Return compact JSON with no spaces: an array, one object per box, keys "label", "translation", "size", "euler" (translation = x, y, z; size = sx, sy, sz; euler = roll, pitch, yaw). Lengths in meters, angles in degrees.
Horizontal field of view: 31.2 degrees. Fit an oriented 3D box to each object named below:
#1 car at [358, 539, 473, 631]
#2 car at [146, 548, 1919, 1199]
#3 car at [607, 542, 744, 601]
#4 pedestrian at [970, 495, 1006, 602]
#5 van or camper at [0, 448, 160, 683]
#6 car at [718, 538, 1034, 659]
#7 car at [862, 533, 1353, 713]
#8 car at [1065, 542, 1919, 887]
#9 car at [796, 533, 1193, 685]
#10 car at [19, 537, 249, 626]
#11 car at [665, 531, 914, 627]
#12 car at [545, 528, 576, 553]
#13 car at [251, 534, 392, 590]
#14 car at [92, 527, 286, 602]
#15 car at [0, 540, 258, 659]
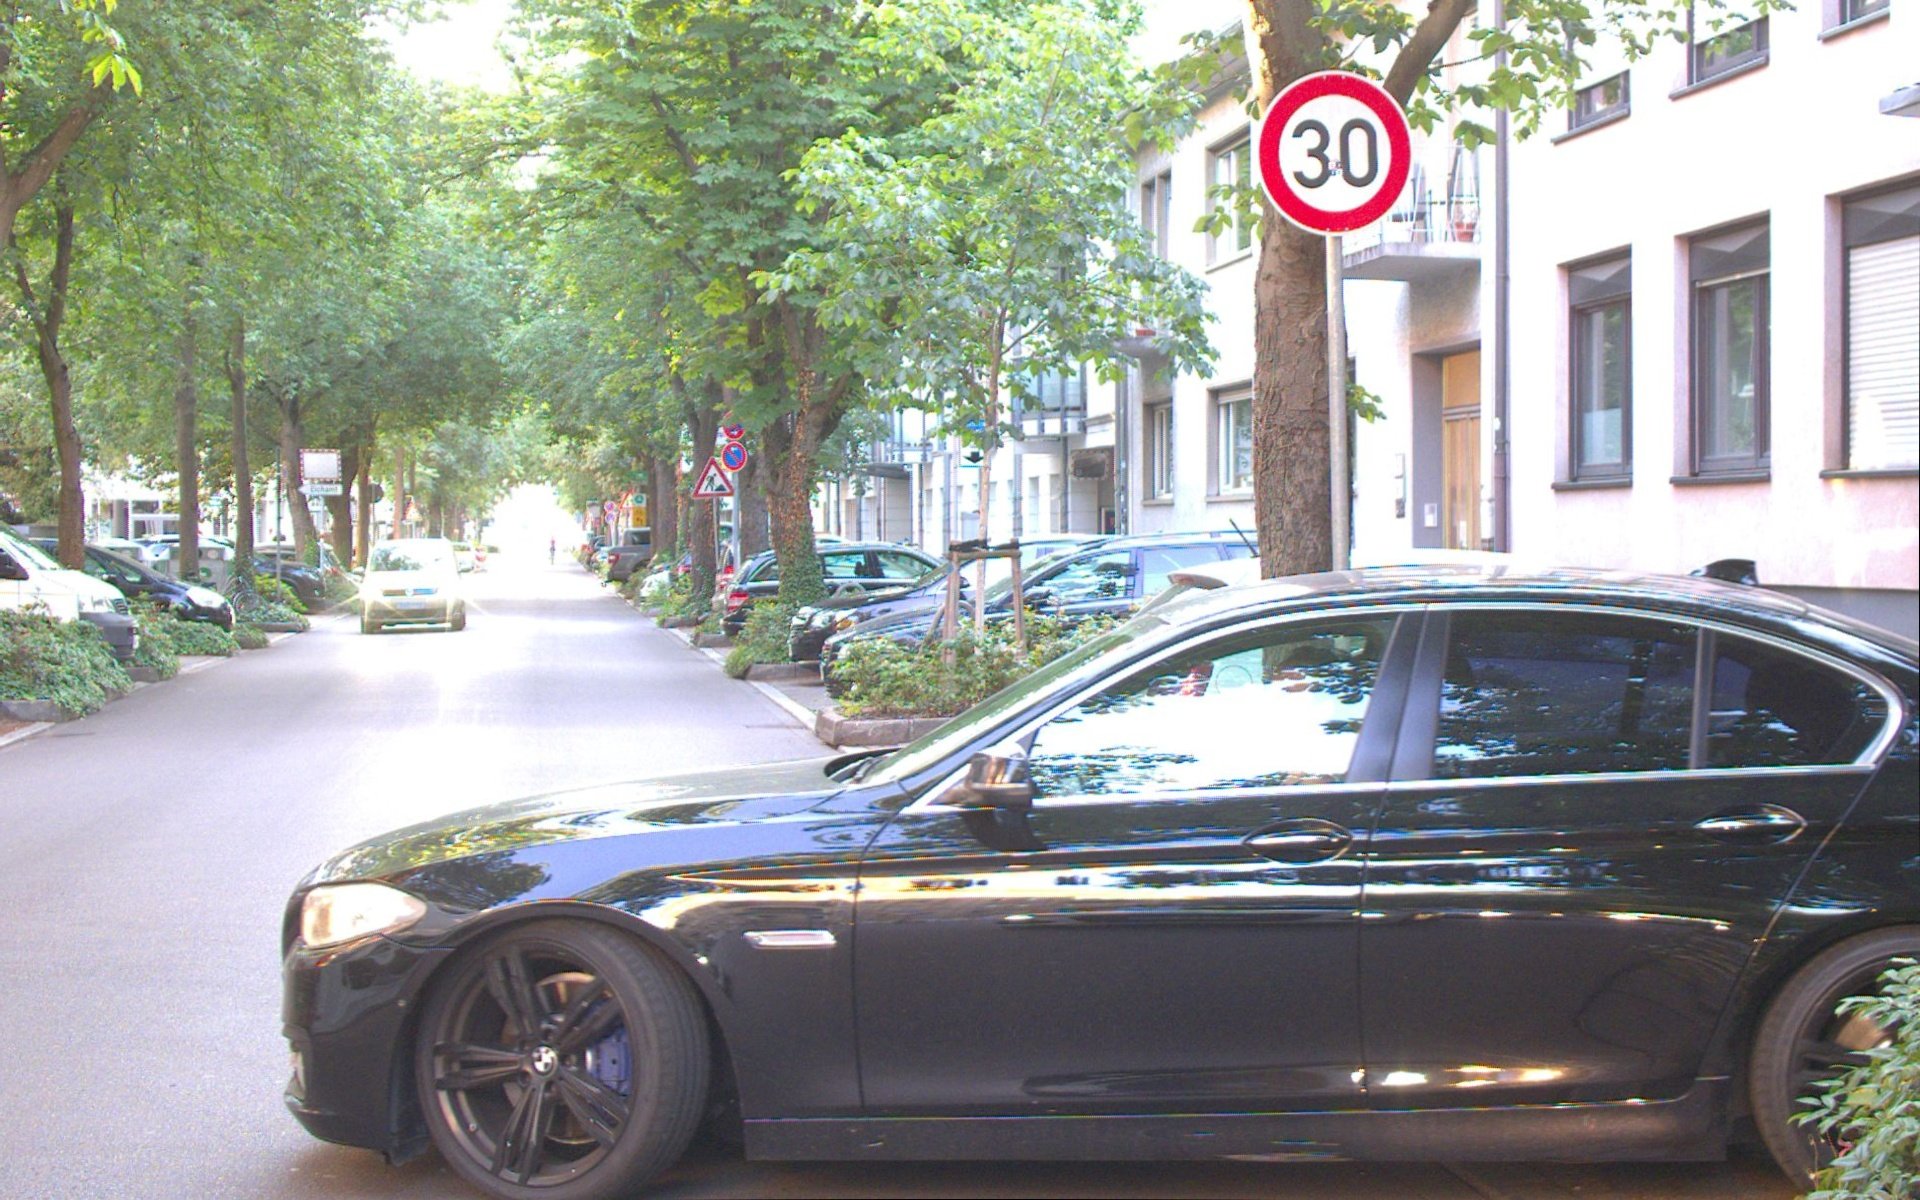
[{"label":"car","translation":[-9.569,-0.289,60.627],"size":[1.779,1.557,4.169],"euler":[0,1,-6]},{"label":"car","translation":[0.670,0.624,8.186],"size":[4.746,1.475,1.800],"euler":[0,1,4]},{"label":"car","translation":[-8.344,-0.857,100.773],"size":[3.967,1.678,1.785],"euler":[0,1,-5]},{"label":"pedestrian","translation":[0.523,-0.968,64.903],"size":[0.589,2.007,0.669],"euler":[-1,1,-5]},{"label":"van or camper","translation":[-11.124,-0.370,37.043],"size":[4.662,2.470,2.000],"euler":[0,1,-7]},{"label":"car","translation":[-1.127,-0.037,44.957],"size":[3.967,1.522,1.785],"euler":[-1,1,-7]},{"label":"car","translation":[1.231,0.170,29.672],"size":[3.967,1.471,1.785],"euler":[-1,1,-8]},{"label":"car","translation":[2.564,0.481,16.072],"size":[3.908,1.471,1.665],"euler":[-1,1,-8]},{"label":"car","translation":[0.325,0.073,36.147],"size":[3.967,1.522,1.785],"euler":[-1,1,-7]},{"label":"car","translation":[-15.458,-0.361,64.506],"size":[3.967,1.614,1.785],"euler":[0,1,-5]},{"label":"car","translation":[-2.842,-0.365,56.821],"size":[3.967,1.522,1.785],"euler":[-1,1,-8]},{"label":"car","translation":[-24.499,-3.659,211.079],"size":[1.822,1.525,4.001],"euler":[-1,1,-6]},{"label":"car","translation":[-18.966,-1.136,102.228],"size":[3.967,1.614,1.785],"euler":[0,1,-5]},{"label":"car","translation":[-17.042,-0.801,76.122],"size":[3.967,1.614,1.785],"euler":[0,1,-5]},{"label":"car","translation":[-11.920,-0.022,48.041],"size":[3.967,1.614,1.785],"euler":[0,1,-6]}]
